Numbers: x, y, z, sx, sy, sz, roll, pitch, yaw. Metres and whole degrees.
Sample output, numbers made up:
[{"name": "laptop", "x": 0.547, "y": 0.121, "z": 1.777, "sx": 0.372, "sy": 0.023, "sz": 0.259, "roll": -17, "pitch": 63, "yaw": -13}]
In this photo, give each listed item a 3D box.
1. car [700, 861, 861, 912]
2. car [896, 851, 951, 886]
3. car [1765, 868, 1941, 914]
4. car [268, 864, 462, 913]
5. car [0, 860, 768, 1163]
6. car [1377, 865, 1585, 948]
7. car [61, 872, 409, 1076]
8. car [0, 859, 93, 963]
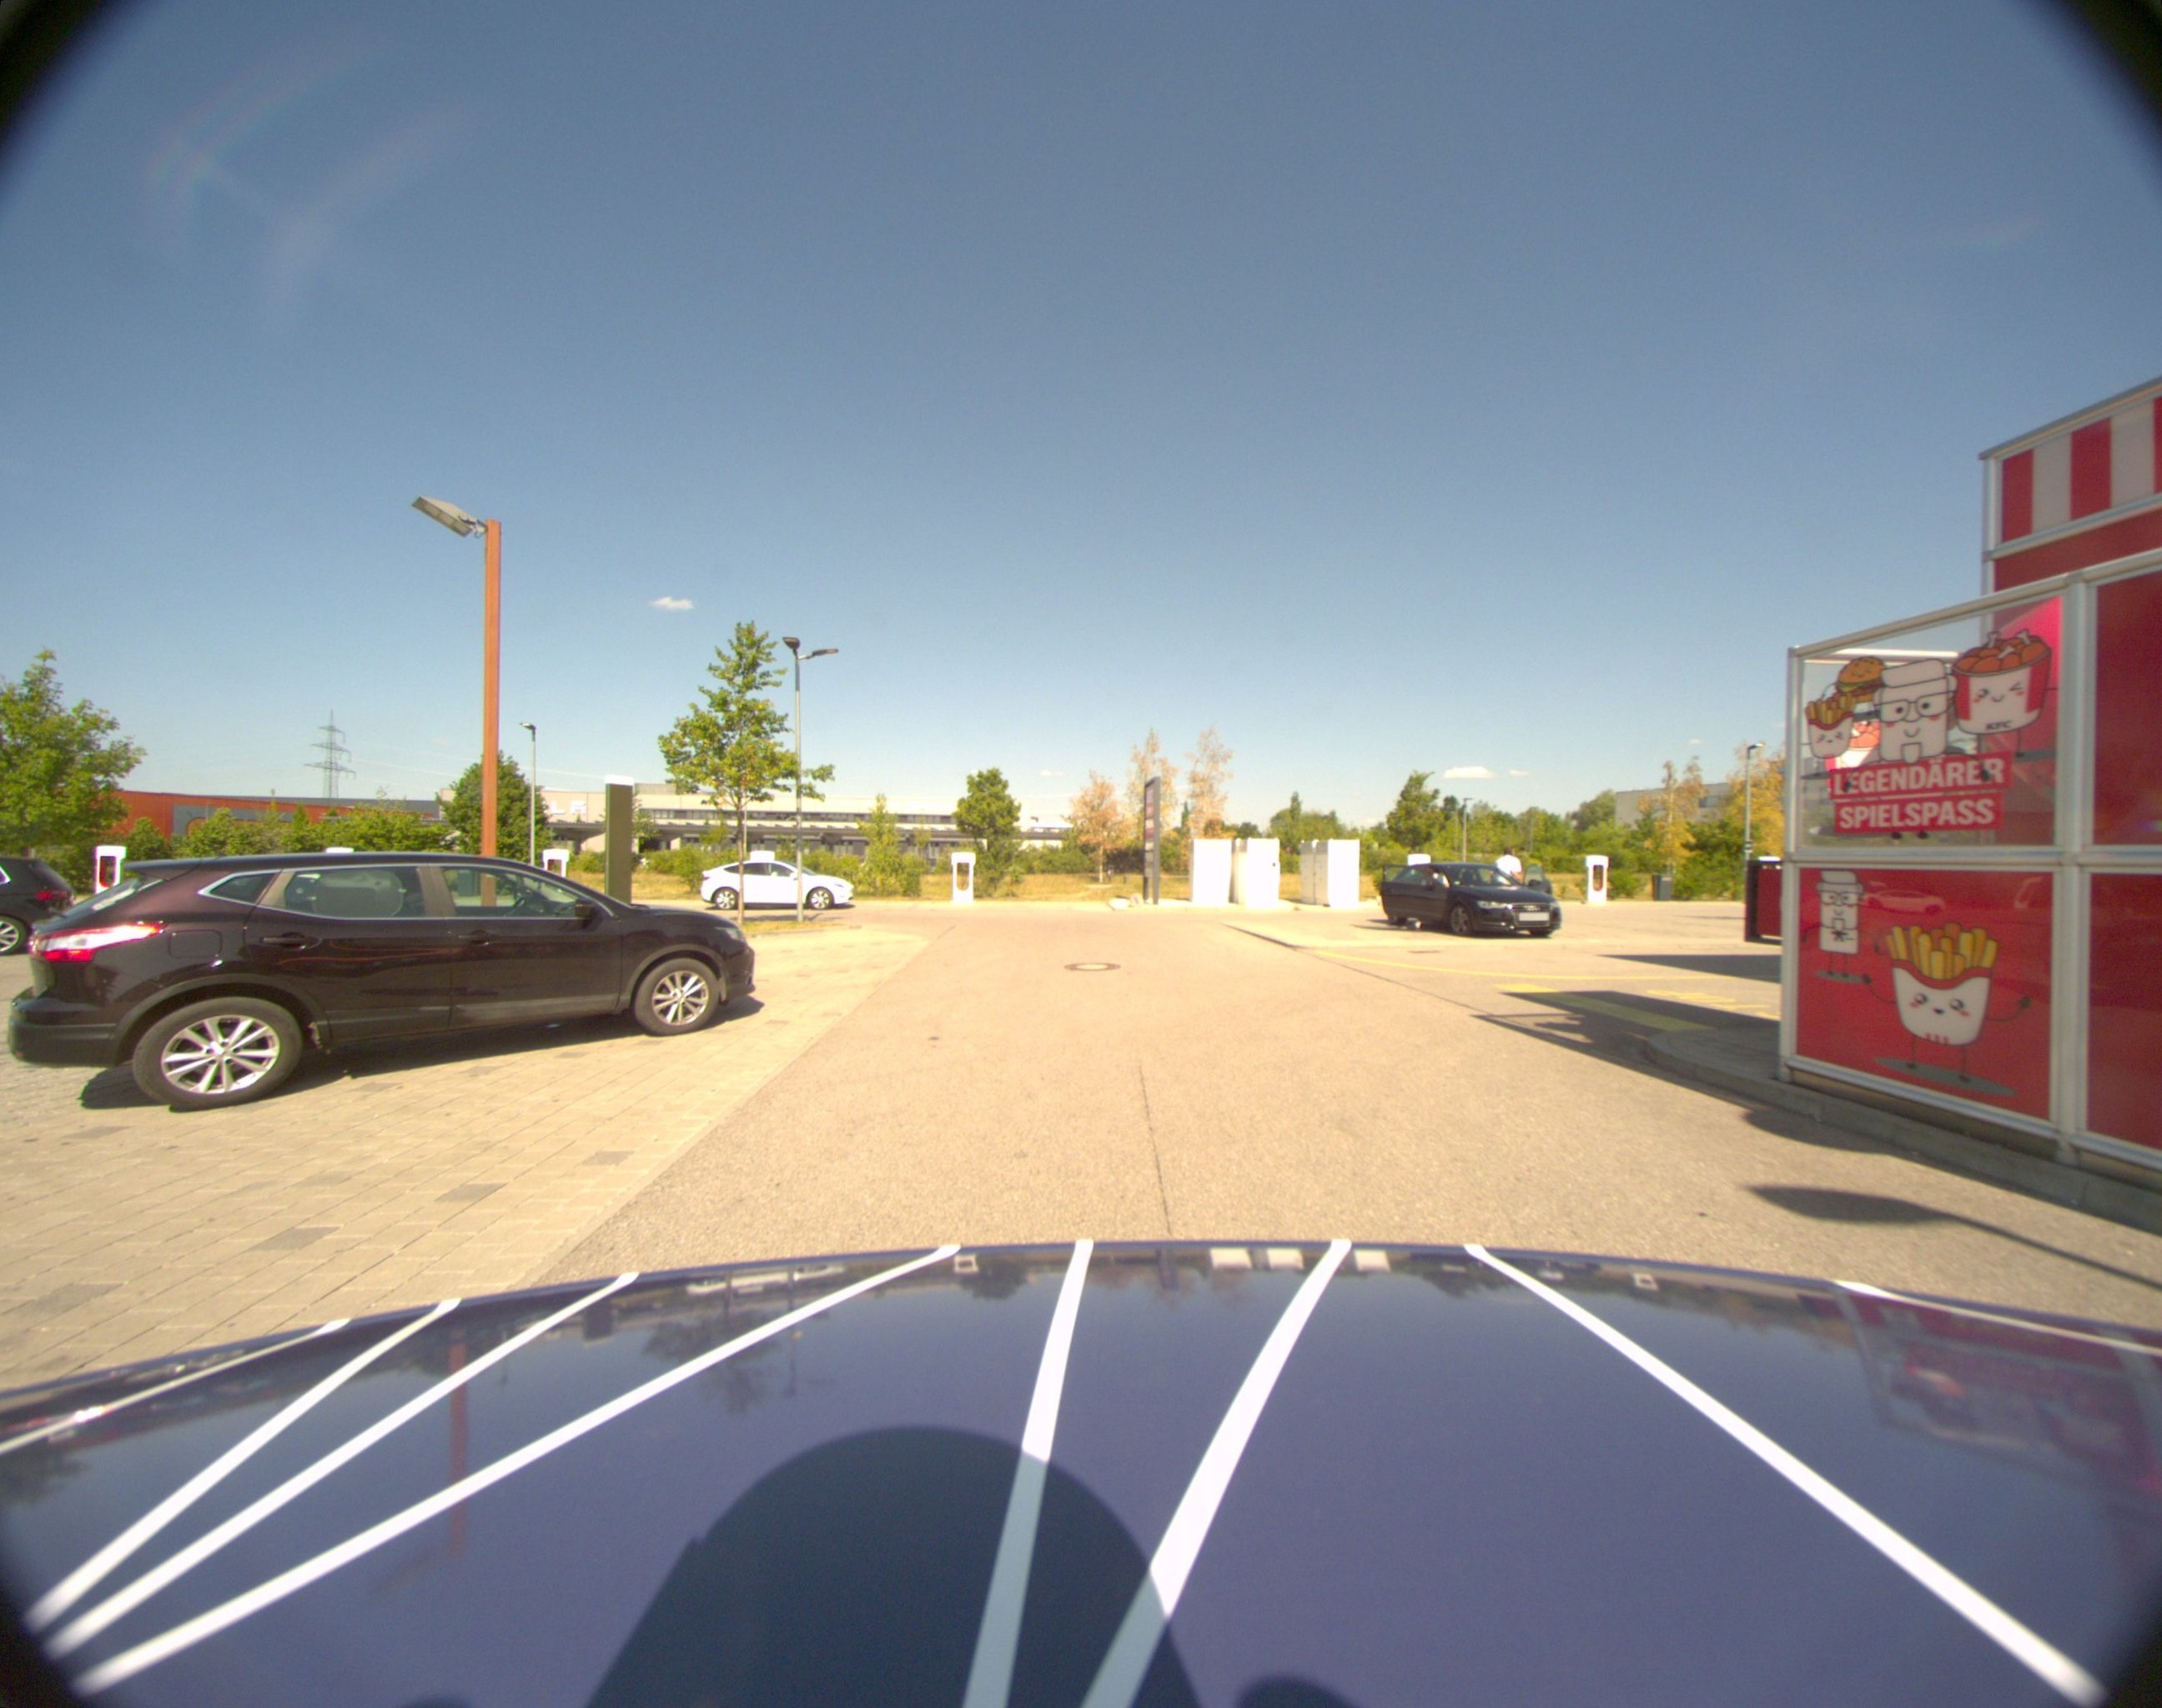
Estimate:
[{"name": "car", "x": -9.687, "y": 1.026, "z": 24.846, "sx": 4.576, "sy": 1.583, "sz": 1.841, "roll": 0, "pitch": 0, "yaw": -7}, {"name": "car", "x": -8.316, "y": 0.733, "z": 40.460, "sx": 1.917, "sy": 1.739, "sz": 4.257, "roll": 0, "pitch": 0, "yaw": 1}, {"name": "car", "x": 28.681, "y": 1.342, "z": 28.327, "sx": 4.431, "sy": 1.518, "sz": 2.216, "roll": 0, "pitch": 2, "yaw": -4}, {"name": "car", "x": -22.726, "y": 1.077, "z": 24.254, "sx": 4.331, "sy": 1.470, "sz": 1.842, "roll": 0, "pitch": 0, "yaw": -3}, {"name": "car", "x": -5.048, "y": 0.849, "z": 6.088, "sx": 1.852, "sy": 1.581, "sz": 4.313, "roll": 0, "pitch": 0, "yaw": 42}, {"name": "car", "x": 7.900, "y": 0.952, "z": 15.539, "sx": 1.729, "sy": 1.403, "sz": 4.313, "roll": 0, "pitch": 0, "yaw": -5}, {"name": "car", "x": -8.718, "y": 0.954, "z": 7.808, "sx": 4.195, "sy": 1.451, "sz": 1.979, "roll": 0, "pitch": 0, "yaw": 38}, {"name": "car", "x": -17.569, "y": 0.861, "z": 10.943, "sx": 1.749, "sy": 1.543, "sz": 4.008, "roll": 0, "pitch": 0, "yaw": 39}]
